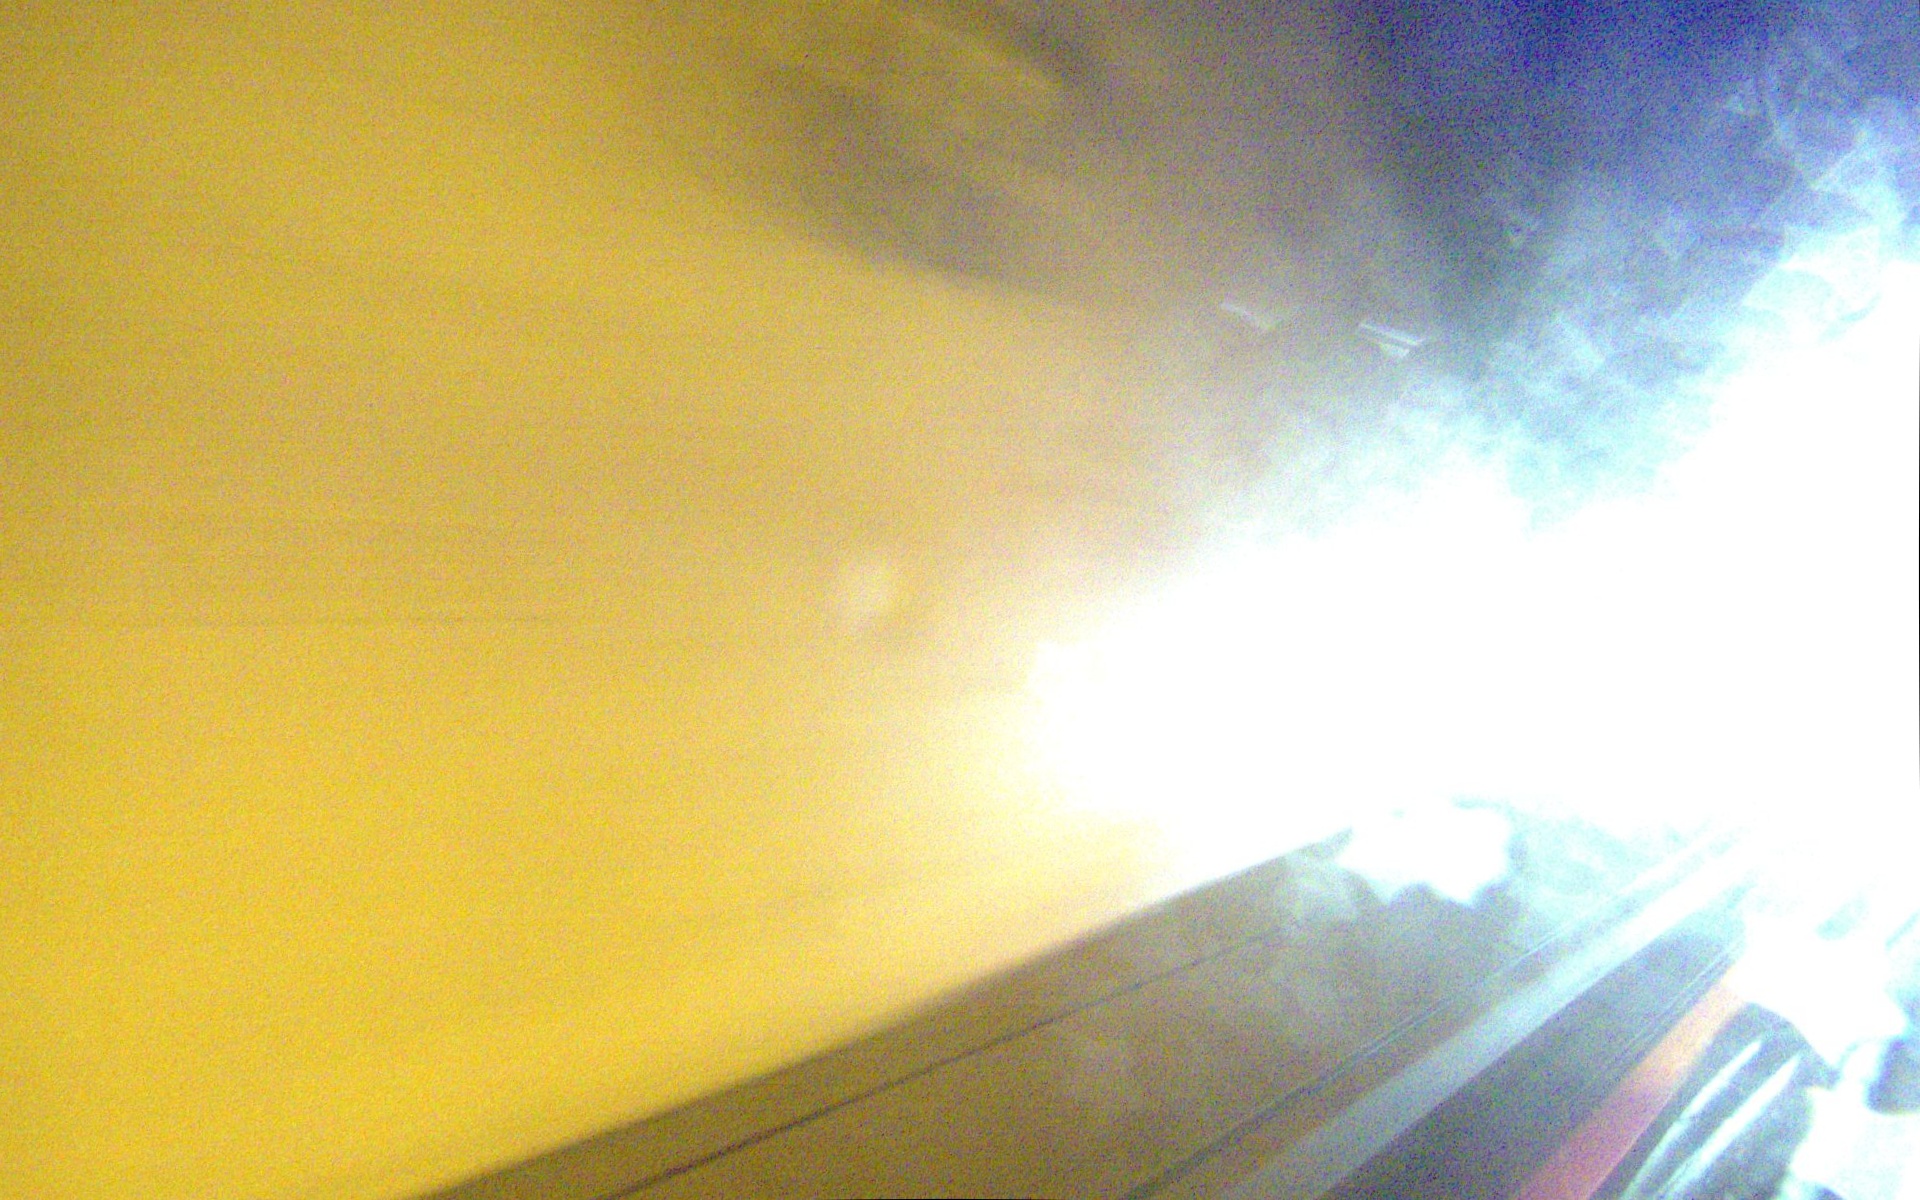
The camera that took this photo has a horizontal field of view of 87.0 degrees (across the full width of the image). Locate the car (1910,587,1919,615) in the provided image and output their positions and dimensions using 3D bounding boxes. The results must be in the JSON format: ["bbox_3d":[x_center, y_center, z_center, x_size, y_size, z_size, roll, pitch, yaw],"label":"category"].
[{"bbox_3d":[62.355,0.058,64.790,1.699,1.794,3.949,1,1,36],"label":"car"}]
